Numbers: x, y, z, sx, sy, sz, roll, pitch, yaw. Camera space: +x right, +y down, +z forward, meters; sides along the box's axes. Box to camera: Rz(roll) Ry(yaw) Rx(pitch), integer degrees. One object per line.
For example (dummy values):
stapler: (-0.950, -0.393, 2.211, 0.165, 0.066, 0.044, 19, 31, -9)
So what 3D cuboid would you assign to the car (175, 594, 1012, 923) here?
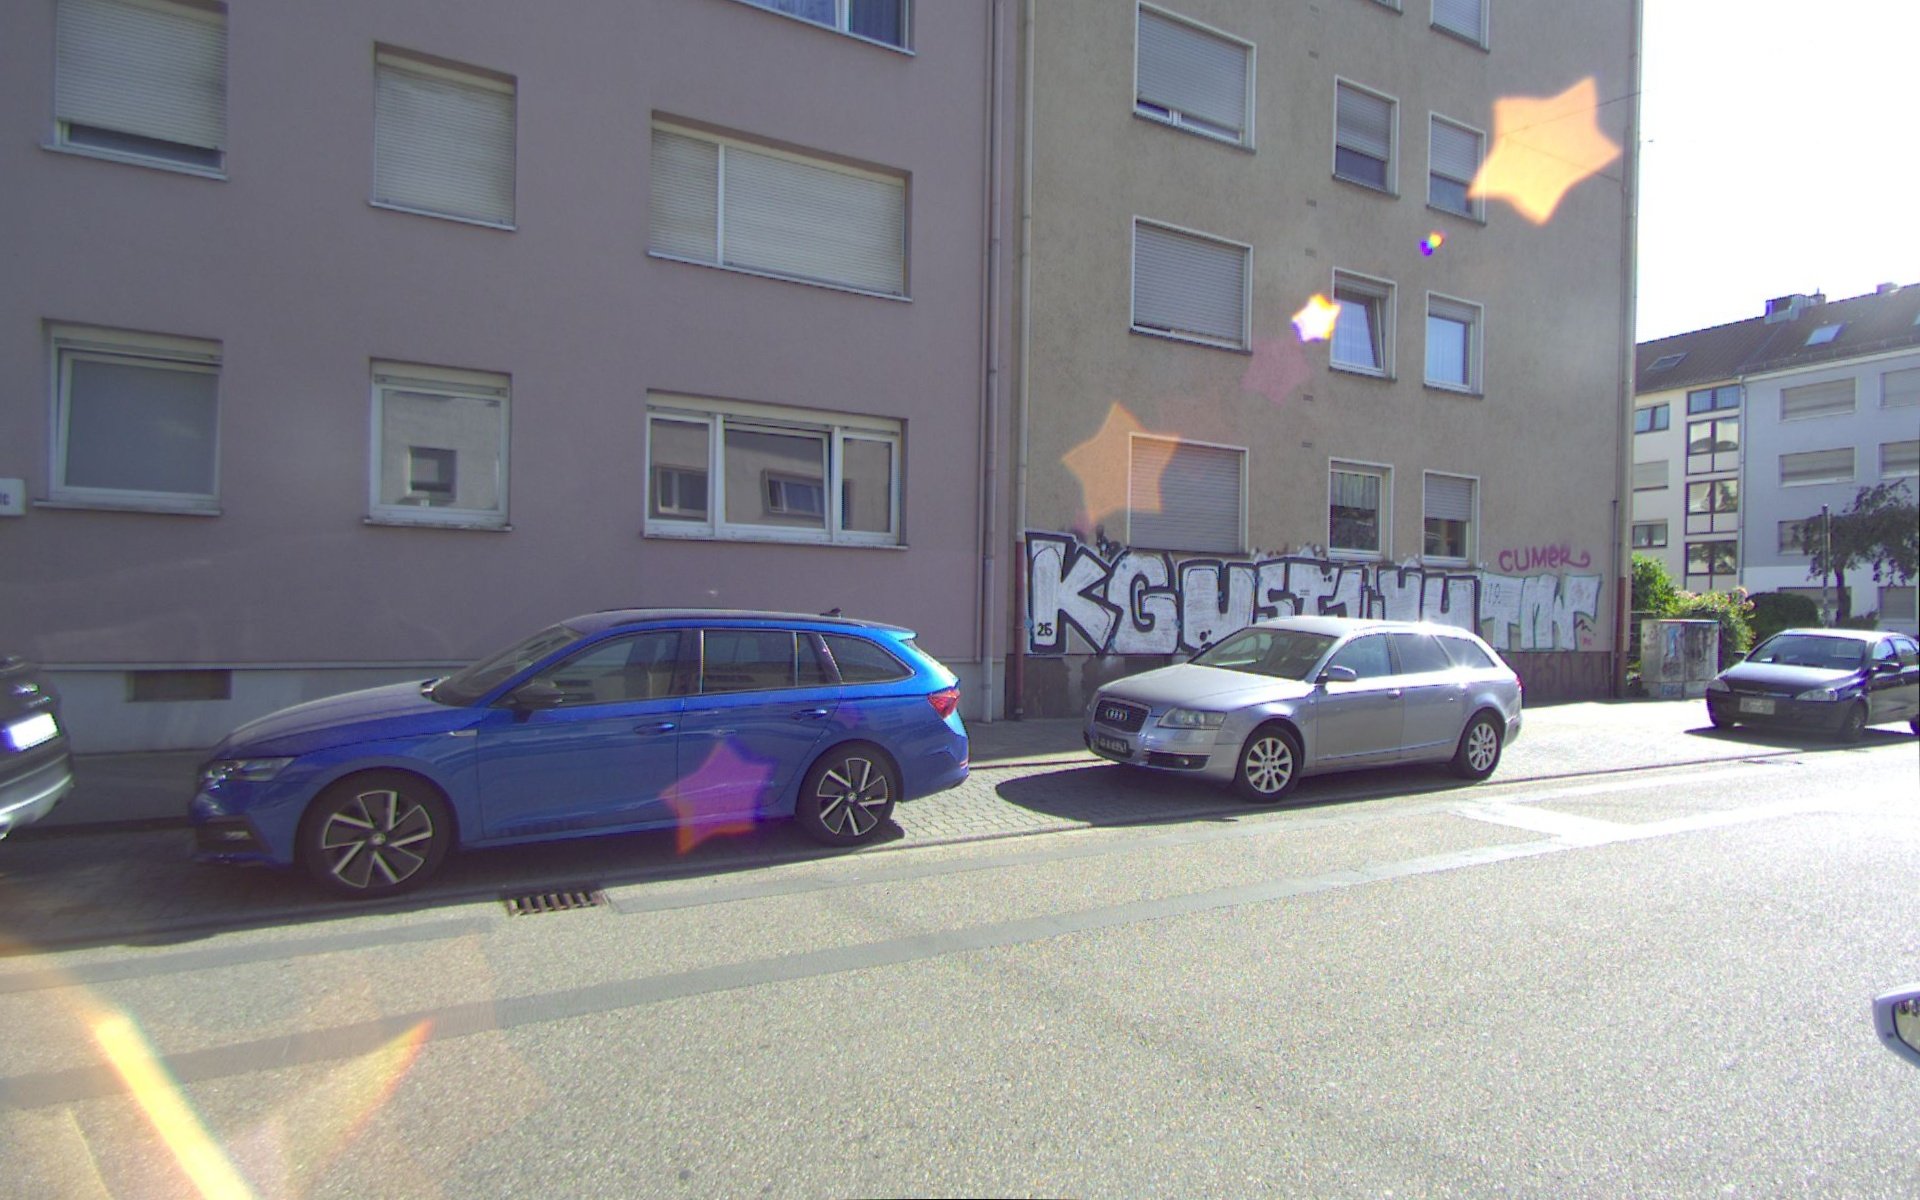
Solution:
car: (-2.063, 0.784, 6.550, 4.555, 1.485, 1.710, 1, 2, -29)

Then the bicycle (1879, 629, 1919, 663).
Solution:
bicycle: (34.694, 1.678, 36.338, 2.069, 1.188, 0.737, 0, -1, 40)

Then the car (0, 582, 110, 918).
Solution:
car: (-6.599, 0.660, 4.286, 4.190, 1.528, 1.811, 1, 2, -27)

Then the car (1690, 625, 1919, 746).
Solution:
car: (12.219, 1.126, 14.218, 3.664, 1.444, 1.609, 1, 1, -29)

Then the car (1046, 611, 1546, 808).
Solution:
car: (3.263, 0.897, 9.485, 4.756, 1.485, 1.710, 1, -2, -29)
